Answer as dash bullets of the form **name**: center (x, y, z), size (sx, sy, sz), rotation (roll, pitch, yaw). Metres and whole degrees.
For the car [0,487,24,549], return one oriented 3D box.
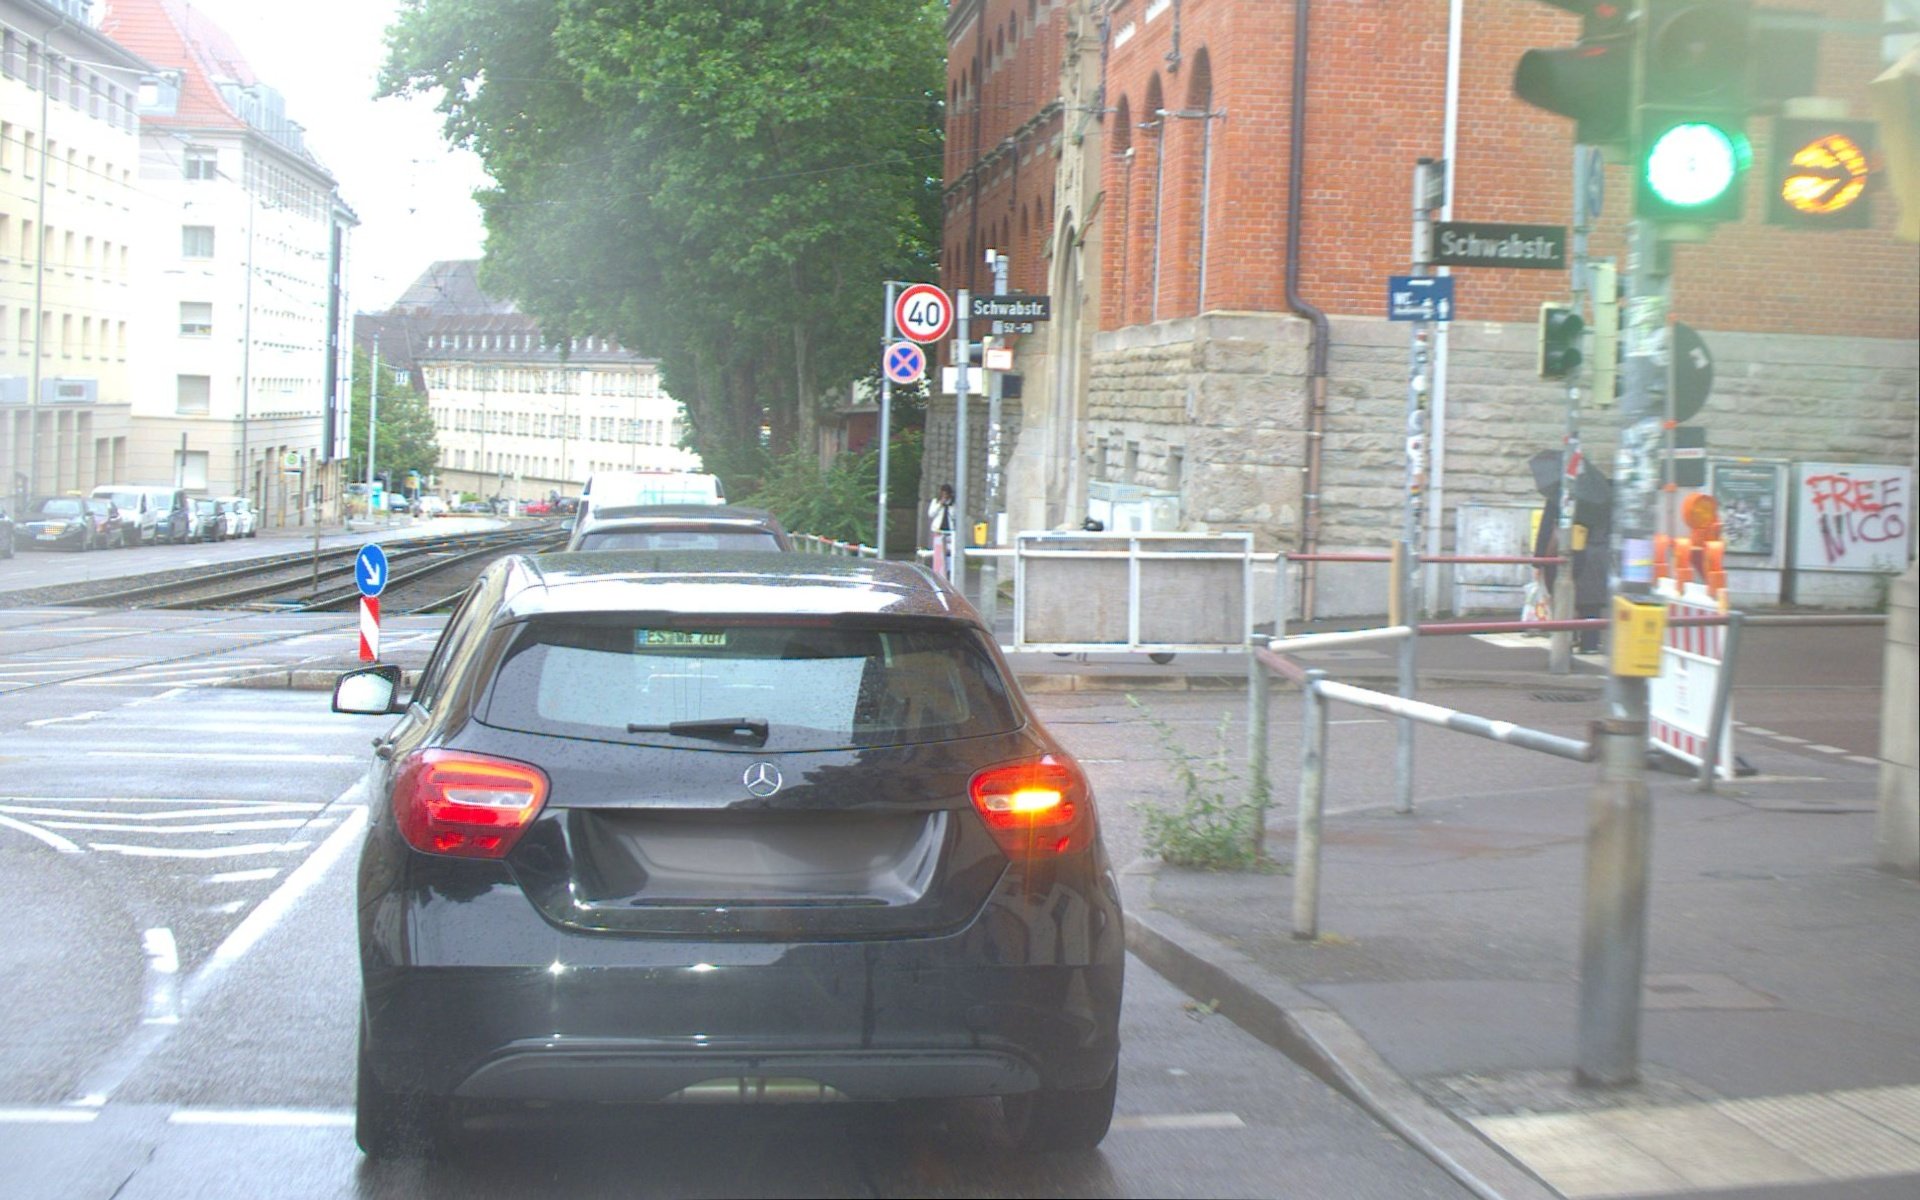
- **car**: center (-22.315, -1.865, 77.361), size (1.679, 1.391, 4.623), rotation (1, 1, -6)

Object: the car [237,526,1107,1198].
- **car**: center (-0.809, 0.526, 9.339), size (1.794, 1.370, 4.001), rotation (3, 1, -6)

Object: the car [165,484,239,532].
- **car**: center (-25.915, -3.157, 117.637), size (1.813, 1.494, 4.583), rotation (3, 1, -5)

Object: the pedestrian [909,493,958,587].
- **pedestrian**: center (-0.479, -1.081, 62.120), size (0.823, 1.673, 0.860), rotation (1, 1, -2)

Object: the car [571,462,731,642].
- **car**: center (-3.744, -0.586, 41.162), size (1.740, 2.007, 3.905), rotation (2, 1, -7)

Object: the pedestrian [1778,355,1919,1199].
- **pedestrian**: center (2.157, 0.415, 6.315), size (1.016, 1.714, 0.930), rotation (-1, 1, -3)

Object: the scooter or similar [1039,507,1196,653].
- **scooter or similar**: center (1.379, -0.180, 30.072), size (1.248, 1.246, 0.637), rotation (1, 1, 17)

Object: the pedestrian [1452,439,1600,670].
- **pedestrian**: center (4.682, -0.384, 28.510), size (0.958, 1.881, 1.074), rotation (0, 2, -5)

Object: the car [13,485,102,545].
- **car**: center (-23.701, -2.237, 90.434), size (1.851, 1.503, 4.993), rotation (1, 1, -10)

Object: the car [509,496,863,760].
- **car**: center (-1.853, 0.116, 21.948), size (1.933, 1.448, 4.319), rotation (2, 1, -8)

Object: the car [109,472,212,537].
- **car**: center (-25.163, -3.007, 108.380), size (1.993, 1.898, 5.460), rotation (3, 1, -2)

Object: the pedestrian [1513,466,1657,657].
- **pedestrian**: center (5.392, -0.341, 29.723), size (0.958, 1.620, 1.074), rotation (0, 2, -5)

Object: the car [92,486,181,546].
- **car**: center (-24.463, -2.498, 102.229), size (1.867, 1.711, 4.461), rotation (1, 1, -5)
